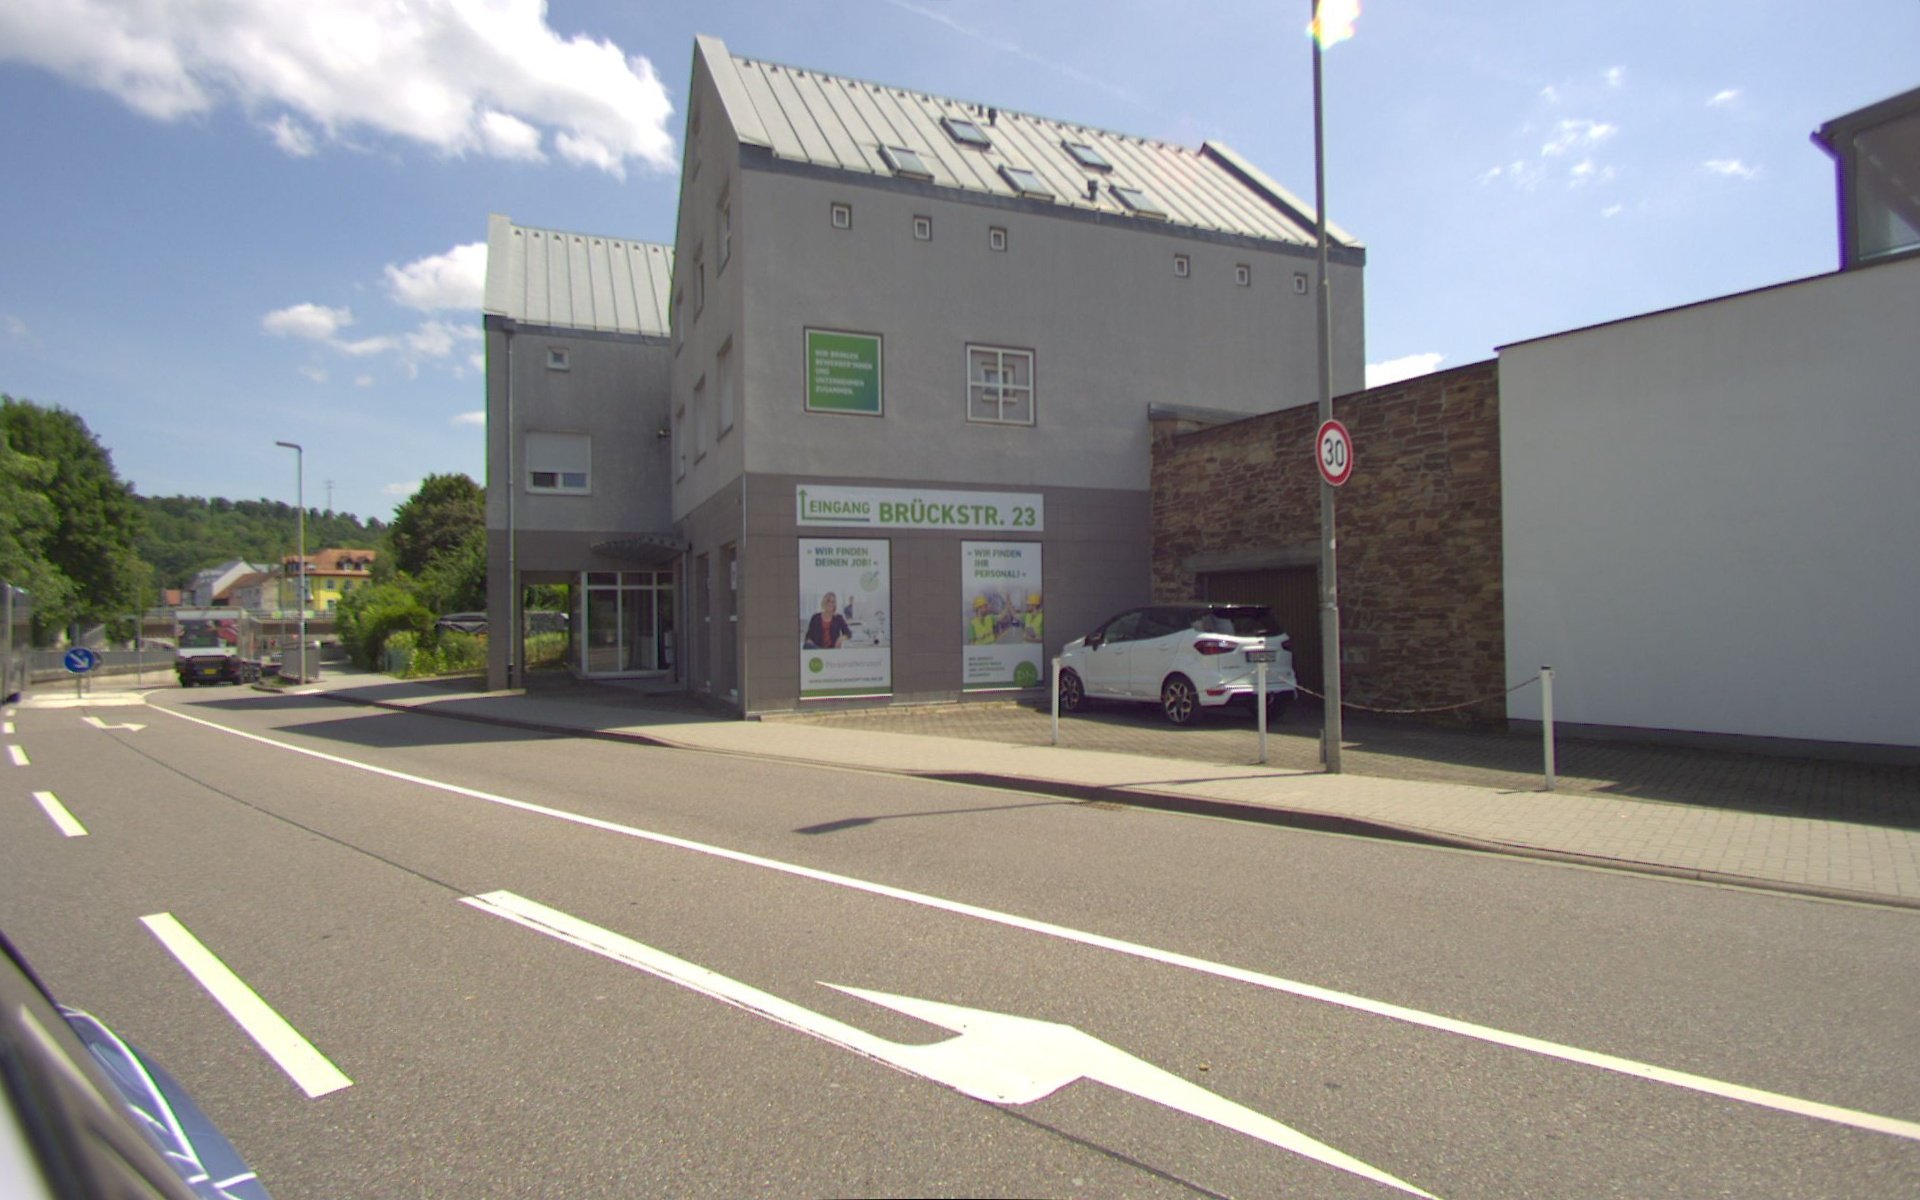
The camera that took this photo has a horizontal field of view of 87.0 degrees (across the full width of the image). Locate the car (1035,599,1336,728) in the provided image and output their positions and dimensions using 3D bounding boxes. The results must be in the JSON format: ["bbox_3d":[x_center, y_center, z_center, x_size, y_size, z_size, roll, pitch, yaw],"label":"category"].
[{"bbox_3d":[3.077,0.876,14.794,1.965,1.587,4.266,1,-3,-28],"label":"car"}]

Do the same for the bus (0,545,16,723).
[{"bbox_3d":[-18.595,0.712,17.708,2.715,2.990,9.292,2,-5,-41],"label":"bus"}]

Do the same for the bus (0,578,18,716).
[{"bbox_3d":[-24.925,1.265,24.578,2.715,2.990,9.291,2,-5,-42],"label":"bus"}]

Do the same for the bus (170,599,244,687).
[{"bbox_3d":[-38.616,2.327,52.005,2.773,4.033,10.991,0,-4,-36],"label":"bus"}]
